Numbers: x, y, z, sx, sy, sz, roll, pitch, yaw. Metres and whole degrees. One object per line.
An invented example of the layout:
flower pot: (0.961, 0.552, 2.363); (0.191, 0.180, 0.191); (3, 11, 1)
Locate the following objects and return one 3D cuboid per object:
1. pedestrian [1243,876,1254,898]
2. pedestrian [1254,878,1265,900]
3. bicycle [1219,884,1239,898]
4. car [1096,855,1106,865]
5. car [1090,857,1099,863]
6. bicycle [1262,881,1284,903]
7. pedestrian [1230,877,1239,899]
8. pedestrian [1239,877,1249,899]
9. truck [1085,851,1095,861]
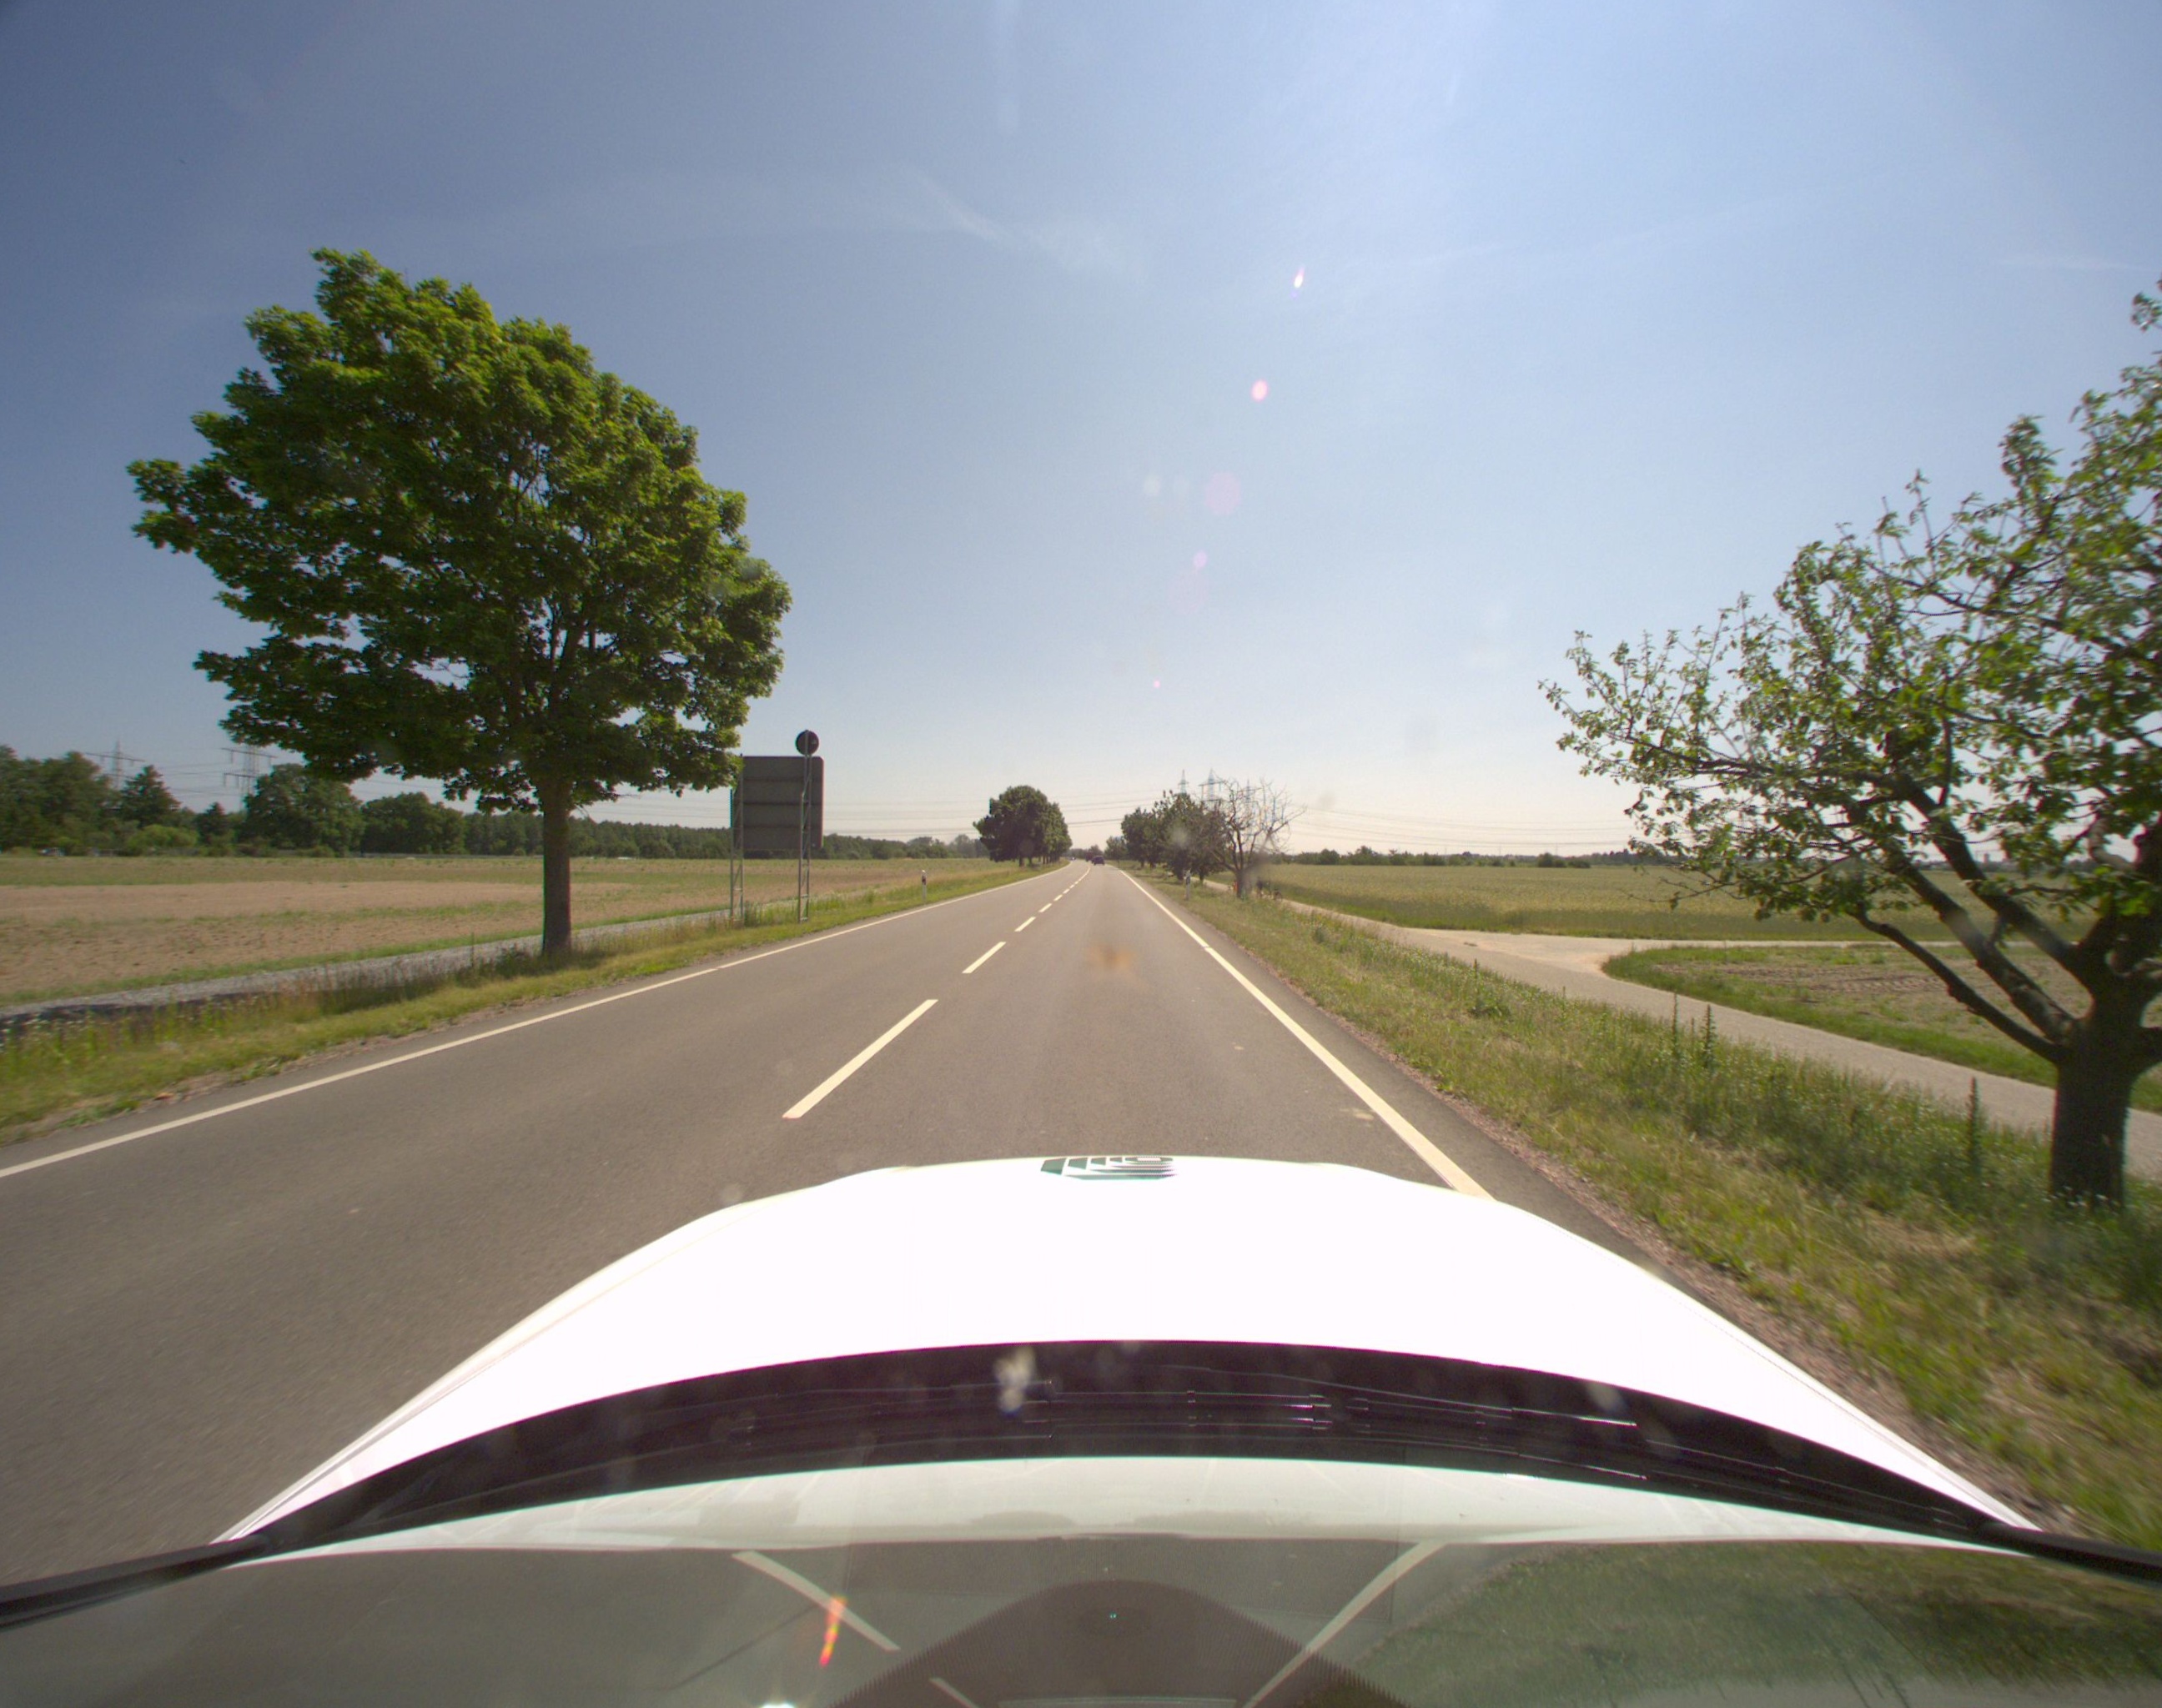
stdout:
pedestrian: (10.284, 2.042, 50.024); (0.481, 1.314, 0.445); (0, 0, 44)
pedestrian: (10.765, 2.079, 48.996); (0.444, 1.295, 0.481); (0, 0, -43)
bicycle: (8.976, 2.243, 49.503); (1.105, 0.860, 0.445); (0, 0, 38)
car: (3.650, 1.125, 147.717); (1.709, 1.694, 3.989); (0, -1, 1)
car: (3.182, 1.398, 187.918); (1.847, 1.523, 3.995); (0, -1, -4)
bicycle: (10.827, 2.139, 45.933); (0.476, 1.165, 1.675); (0, 0, -13)
pedestrian: (9.240, 2.045, 48.996); (0.440, 1.295, 0.486); (0, 0, -6)
pedestrian: (9.913, 2.053, 49.606); (0.481, 1.295, 0.445); (0, 0, 34)
truck: (2.836, 0.713, 253.799); (2.366, 3.140, 8.734); (1, 0, -4)
